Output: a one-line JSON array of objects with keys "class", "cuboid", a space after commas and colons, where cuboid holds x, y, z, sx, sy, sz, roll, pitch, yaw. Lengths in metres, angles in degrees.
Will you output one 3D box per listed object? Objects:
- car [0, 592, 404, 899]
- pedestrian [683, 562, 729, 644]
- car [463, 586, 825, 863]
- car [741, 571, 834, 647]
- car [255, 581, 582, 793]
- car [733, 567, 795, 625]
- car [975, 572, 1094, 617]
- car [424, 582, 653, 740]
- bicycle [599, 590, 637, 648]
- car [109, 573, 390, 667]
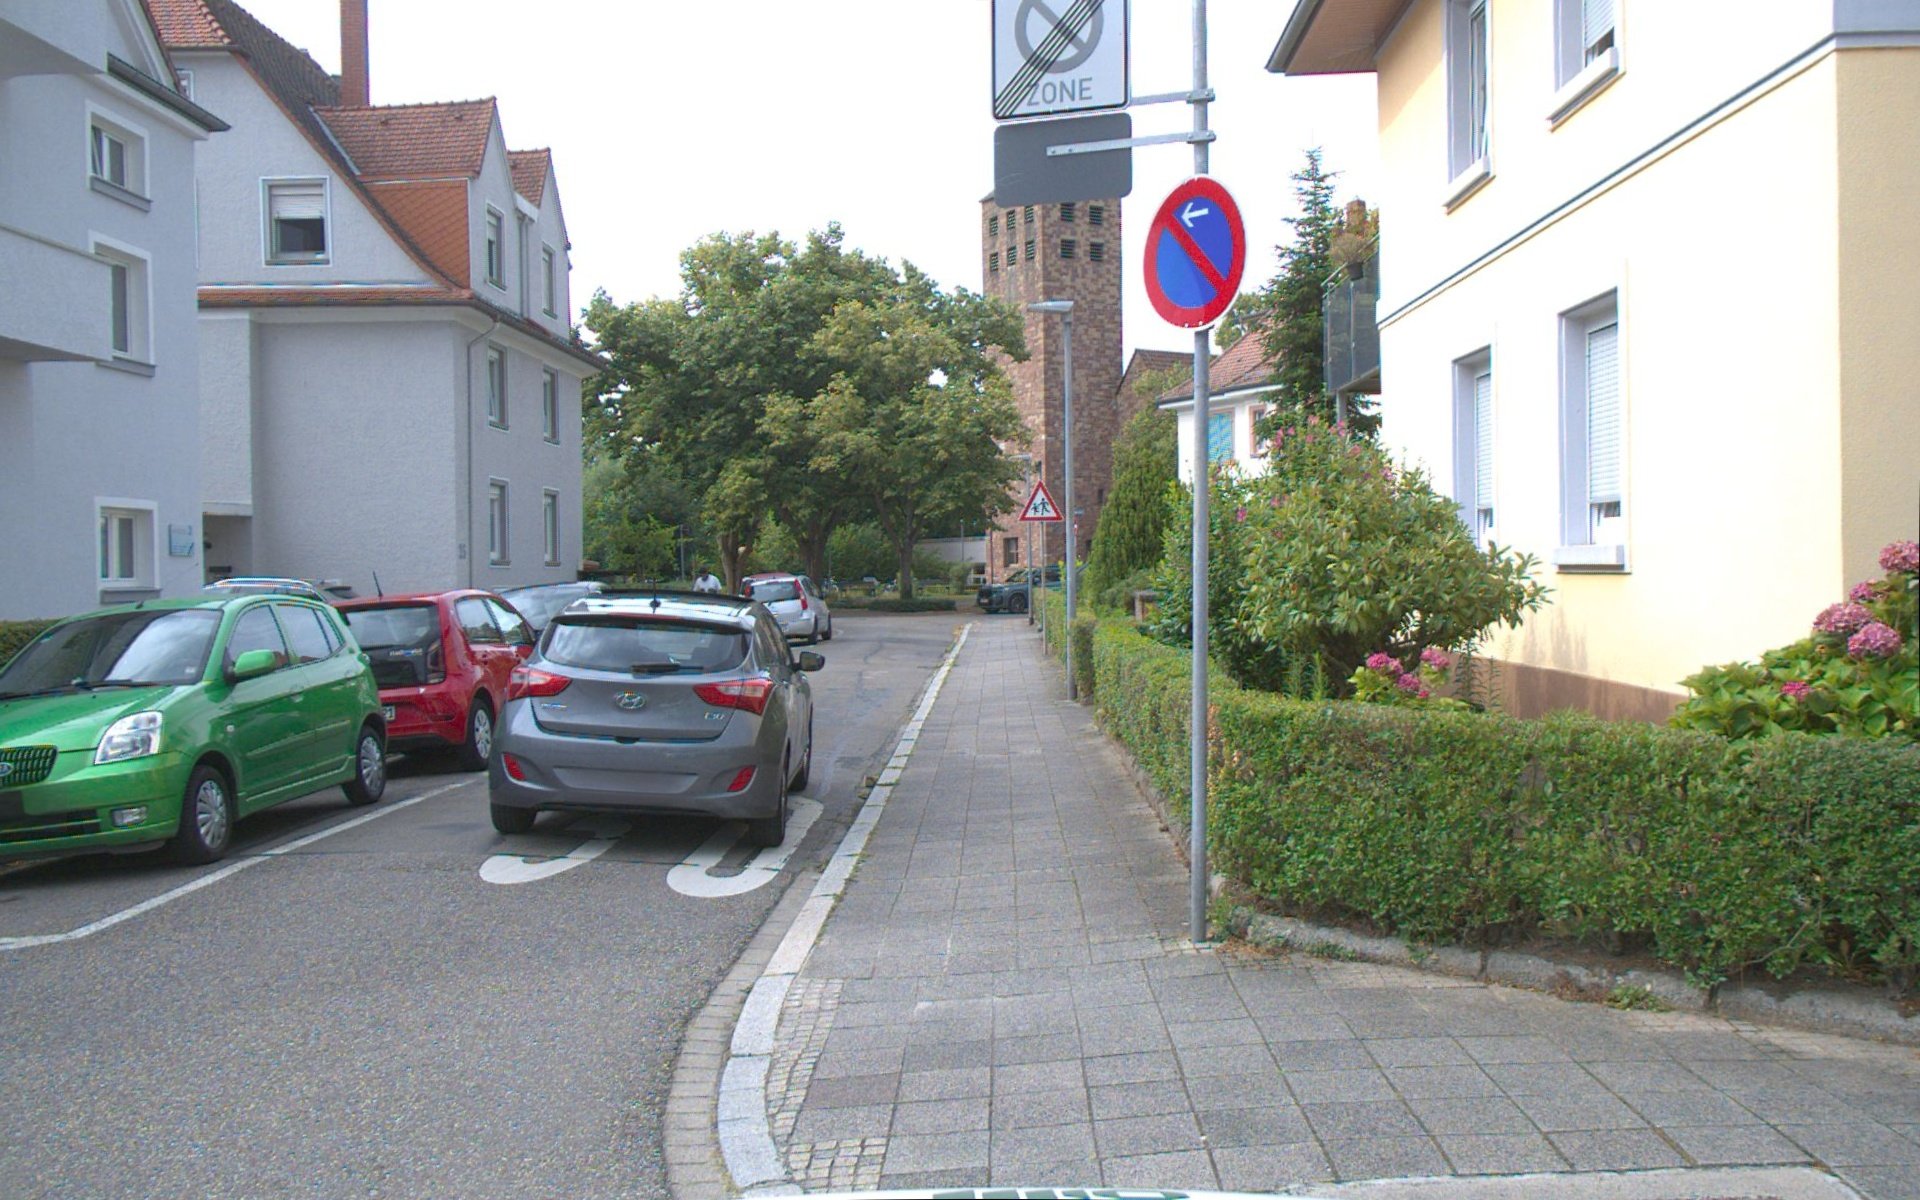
[{"class": "car", "cuboid": [-4.819, 0.747, 10.011, 1.612, 1.446, 3.482, -4, 1, 0]}, {"class": "pedestrian", "cuboid": [-6.034, 0.050, 39.341, 0.863, 1.911, 1.079, -1, 1, 2]}, {"class": "car", "cuboid": [-1.943, 0.683, 11.358, 1.811, 1.506, 4.040, -1, 1, -2]}, {"class": "car", "cuboid": [-3.861, 0.179, 37.417, 1.612, 1.521, 3.482, -4, 1, 0]}, {"class": "car", "cuboid": [-4.610, 0.654, 14.600, 1.612, 1.521, 3.482, -4, 1, 0]}, {"class": "car", "cuboid": [-5.707, -0.136, 48.382, 1.614, 1.521, 3.477, -4, 1, -5]}, {"class": "car", "cuboid": [2.609, -0.207, 58.651, 4.127, 1.489, 1.685, -1, 2, 0]}, {"class": "car", "cuboid": [-4.710, 0.618, 18.964, 1.612, 1.521, 3.482, -4, 1, 0]}, {"class": "bicycle", "cuboid": [-6.977, 0.370, 33.764, 0.413, 1.122, 2.114, -1, 1, -3]}, {"class": "car", "cuboid": [-12.096, 0.322, 28.336, 3.904, 1.489, 2.001, -1, 1, 2]}]
